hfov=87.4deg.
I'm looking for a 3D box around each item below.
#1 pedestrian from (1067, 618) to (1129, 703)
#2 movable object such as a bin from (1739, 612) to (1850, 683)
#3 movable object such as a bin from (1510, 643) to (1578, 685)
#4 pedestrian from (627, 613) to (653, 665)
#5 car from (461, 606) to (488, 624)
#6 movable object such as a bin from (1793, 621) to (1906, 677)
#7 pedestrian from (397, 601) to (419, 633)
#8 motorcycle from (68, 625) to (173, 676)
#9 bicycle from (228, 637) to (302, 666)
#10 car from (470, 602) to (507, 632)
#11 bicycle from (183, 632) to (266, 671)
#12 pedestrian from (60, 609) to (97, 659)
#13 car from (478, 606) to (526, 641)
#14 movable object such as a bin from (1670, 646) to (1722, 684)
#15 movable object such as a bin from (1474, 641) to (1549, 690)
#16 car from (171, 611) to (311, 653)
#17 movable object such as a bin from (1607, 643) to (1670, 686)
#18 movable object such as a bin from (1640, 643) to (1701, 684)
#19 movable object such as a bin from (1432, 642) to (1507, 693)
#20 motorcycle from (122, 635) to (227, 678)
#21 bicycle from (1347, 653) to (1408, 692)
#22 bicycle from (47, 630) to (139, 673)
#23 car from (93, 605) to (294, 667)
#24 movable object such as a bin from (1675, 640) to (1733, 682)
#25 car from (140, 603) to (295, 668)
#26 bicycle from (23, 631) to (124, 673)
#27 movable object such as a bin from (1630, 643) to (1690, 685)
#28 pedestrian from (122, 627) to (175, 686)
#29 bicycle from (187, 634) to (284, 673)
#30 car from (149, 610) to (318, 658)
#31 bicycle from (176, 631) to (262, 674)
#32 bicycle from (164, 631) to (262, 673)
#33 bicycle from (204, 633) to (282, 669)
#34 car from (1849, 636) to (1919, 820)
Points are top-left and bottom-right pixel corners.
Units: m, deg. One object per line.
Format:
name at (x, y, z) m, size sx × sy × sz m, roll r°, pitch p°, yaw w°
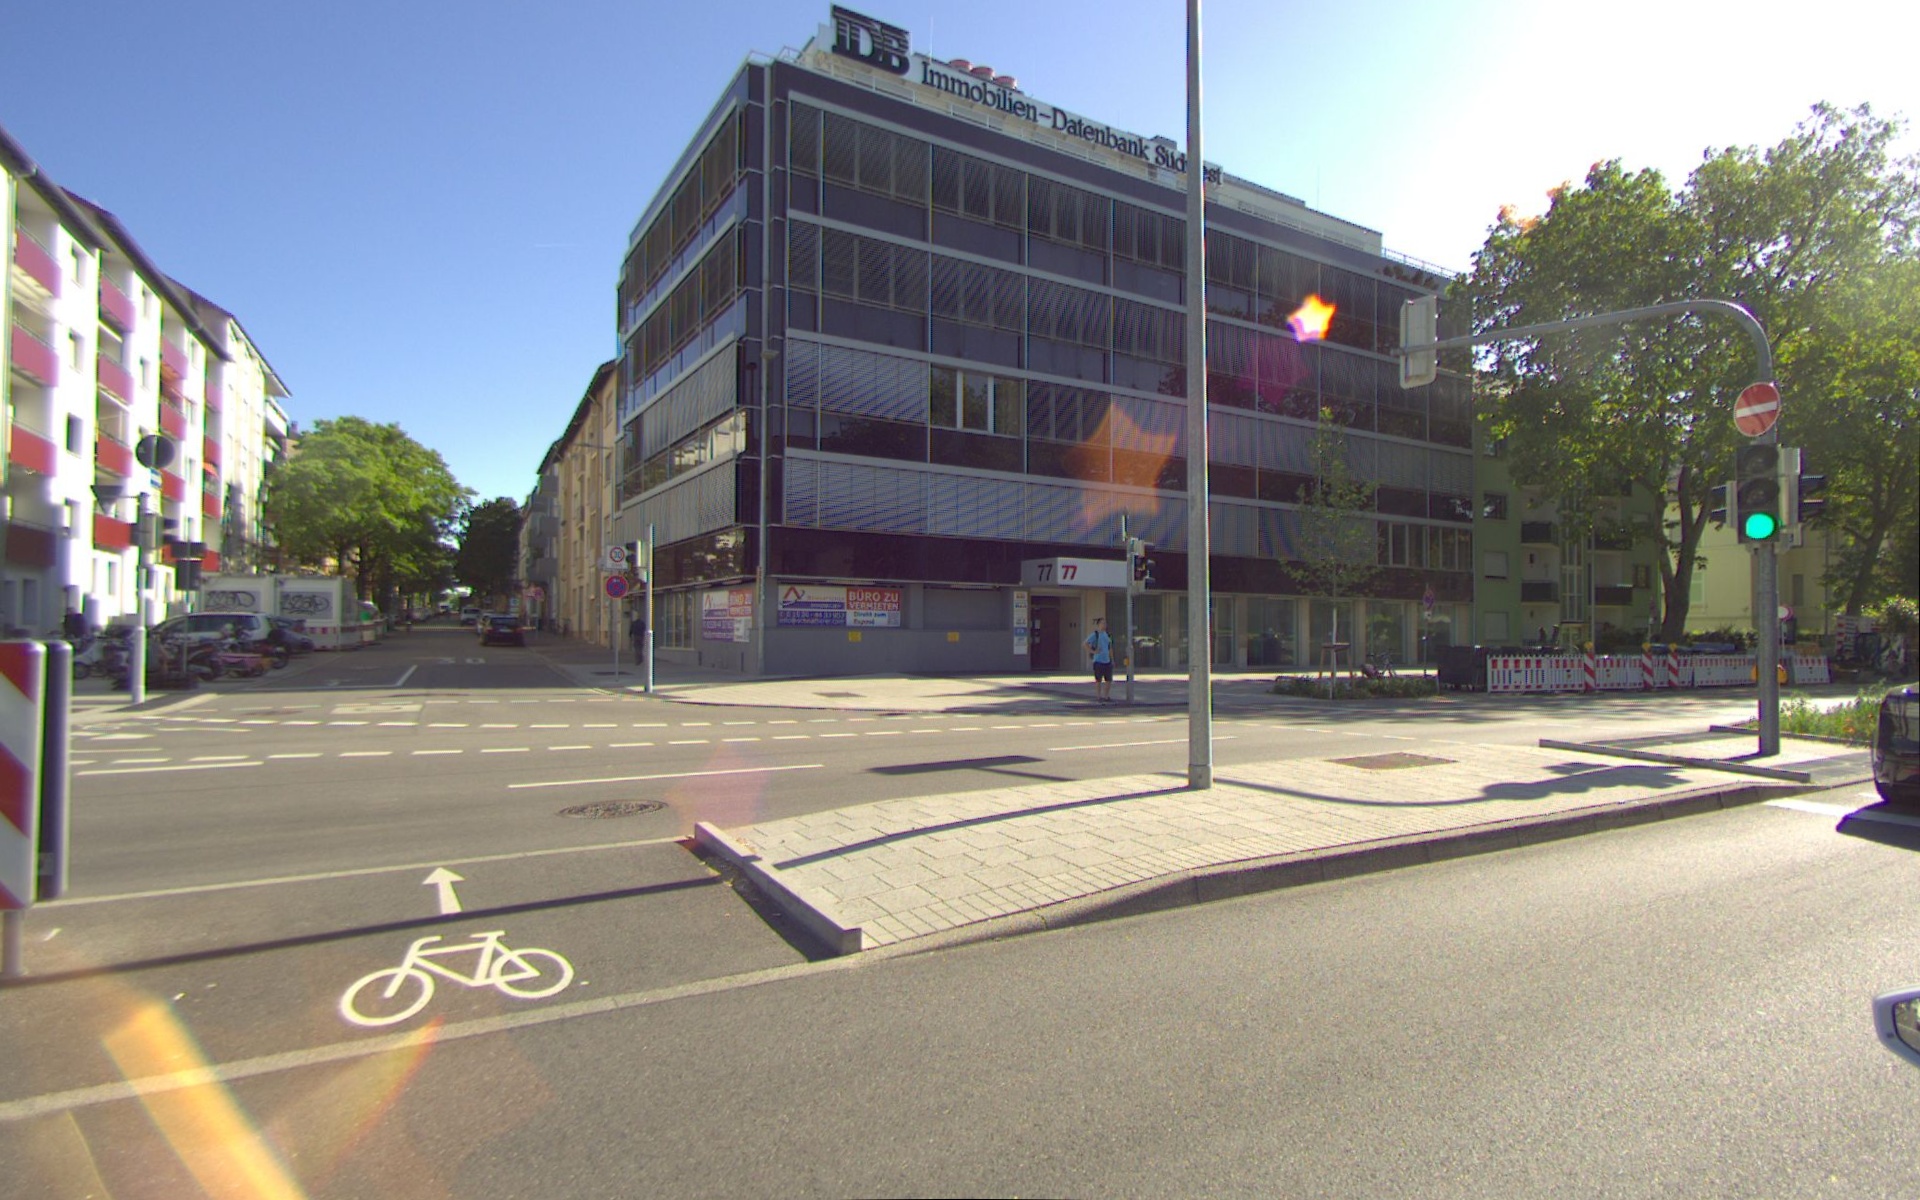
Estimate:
pedestrian at (2.896, 1.262, 21.175) m, size 0.998 × 1.733 × 0.863 m, roll 1°, pitch -1°, yaw -24°
movable object such as a bin at (34.037, 1.902, 40.915) m, size 5.300 × 2.742 × 2.133 m, roll 2°, pitch -2°, yaw -34°
movable object such as a bin at (18.153, 1.980, 31.244) m, size 1.226 × 1.219 × 1.389 m, roll 1°, pitch -1°, yaw -28°
pedestrian at (-10.551, 1.270, 33.132) m, size 0.692 × 1.680 × 0.741 m, roll 1°, pitch -1°, yaw -29°
car at (-47.150, 1.444, 97.501) m, size 1.977 × 1.742 × 3.966 m, roll 1°, pitch 0°, yaw -31°
movable object such as a bin at (39.183, 2.162, 44.213) m, size 5.530 × 2.308 × 1.985 m, roll 2°, pitch -3°, yaw -29°
pedestrian at (-35.104, 1.077, 63.837) m, size 1.137 × 2.040 × 1.443 m, roll 1°, pitch -1°, yaw -32°
motorcycle at (-19.575, 1.163, 23.459) m, size 1.757 × 1.157 × 0.610 m, roll 1°, pitch -1°, yaw -23°
bicycle at (-20.031, 1.472, 28.998) m, size 0.408 × 0.825 × 1.718 m, roll 0°, pitch -2°, yaw 35°
car at (-29.410, 1.011, 62.722) m, size 1.972 × 1.796 × 3.977 m, roll 1°, pitch 0°, yaw -24°
bicycle at (-19.739, 1.369, 26.986) m, size 1.714 × 1.017 × 0.507 m, roll 1°, pitch -1°, yaw -27°
pedestrian at (-27.276, 1.042, 31.091) m, size 0.686 × 1.516 × 0.597 m, roll 1°, pitch -1°, yaw -28°
car at (-22.154, 1.120, 48.525) m, size 1.974 × 1.623 × 3.974 m, roll 1°, pitch -1°, yaw -26°
movable object such as a bin at (25.791, 2.255, 35.191) m, size 1.523 × 1.287 × 0.974 m, roll 1°, pitch -1°, yaw -31°
movable object such as a bin at (16.670, 1.960, 30.375) m, size 1.833 × 1.406 × 1.209 m, roll 1°, pitch -1°, yaw -29°
car at (-26.558, 1.183, 37.275) m, size 3.951 × 1.481 × 1.836 m, roll 1°, pitch -1°, yaw -29°
movable object such as a bin at (22.745, 2.147, 33.703) m, size 1.142 × 1.355 × 1.404 m, roll 1°, pitch -1°, yaw -29°
movable object such as a bin at (24.568, 2.167, 34.736) m, size 1.056 × 1.355 × 1.404 m, roll 1°, pitch -1°, yaw -29°
movable object such as a bin at (14.752, 1.939, 29.081) m, size 1.833 × 1.406 × 1.109 m, roll 1°, pitch -1°, yaw -29°
motorcycle at (-18.052, 1.286, 23.123) m, size 1.816 × 0.948 × 0.501 m, roll 1°, pitch -1°, yaw -24°
bicycle at (11.994, 2.070, 28.833) m, size 1.857 × 1.051 × 0.624 m, roll 1°, pitch -1°, yaw -30°
bicycle at (-22.158, 1.313, 25.706) m, size 1.668 × 1.072 × 0.572 m, roll 1°, pitch -1°, yaw -27°
car at (-22.904, 1.088, 30.263) m, size 4.418 × 1.754 × 1.988 m, roll 1°, pitch -1°, yaw -25°
movable object such as a bin at (27.067, 2.192, 36.582) m, size 1.608 × 1.441 × 1.259 m, roll 0°, pitch -2°, yaw 34°
car at (-23.793, 1.149, 32.374) m, size 3.746 × 1.981 × 1.690 m, roll 1°, pitch -1°, yaw -28°
bicycle at (-21.230, 1.233, 24.089) m, size 1.714 × 0.982 × 0.572 m, roll 1°, pitch -1°, yaw -27°
movable object such as a bin at (23.755, 2.158, 34.102) m, size 0.924 × 1.355 × 1.404 m, roll 1°, pitch -1°, yaw -29°
pedestrian at (-16.634, 1.152, 20.587) m, size 0.783 × 1.168 × 0.710 m, roll 2°, pitch -2°, yaw -43°
bicycle at (-18.365, 1.357, 25.505) m, size 1.923 × 0.960 × 0.476 m, roll 1°, pitch -1°, yaw -23°
car at (-25.090, 1.176, 34.902) m, size 4.518 × 1.549 × 1.752 m, roll 1°, pitch -1°, yaw -29°
bicycle at (-19.200, 1.345, 26.066) m, size 1.715 × 1.082 × 0.486 m, roll 1°, pitch -1°, yaw -29°
bicycle at (-18.426, 1.280, 24.812) m, size 1.853 × 0.991 × 0.507 m, roll 1°, pitch -1°, yaw -15°
bicycle at (-19.877, 1.407, 27.872) m, size 1.703 × 0.960 × 0.456 m, roll 1°, pitch -1°, yaw -30°
car at (9.694, 1.033, 8.657) m, size 4.576 × 1.430 × 1.914 m, roll 1°, pitch -2°, yaw -33°
